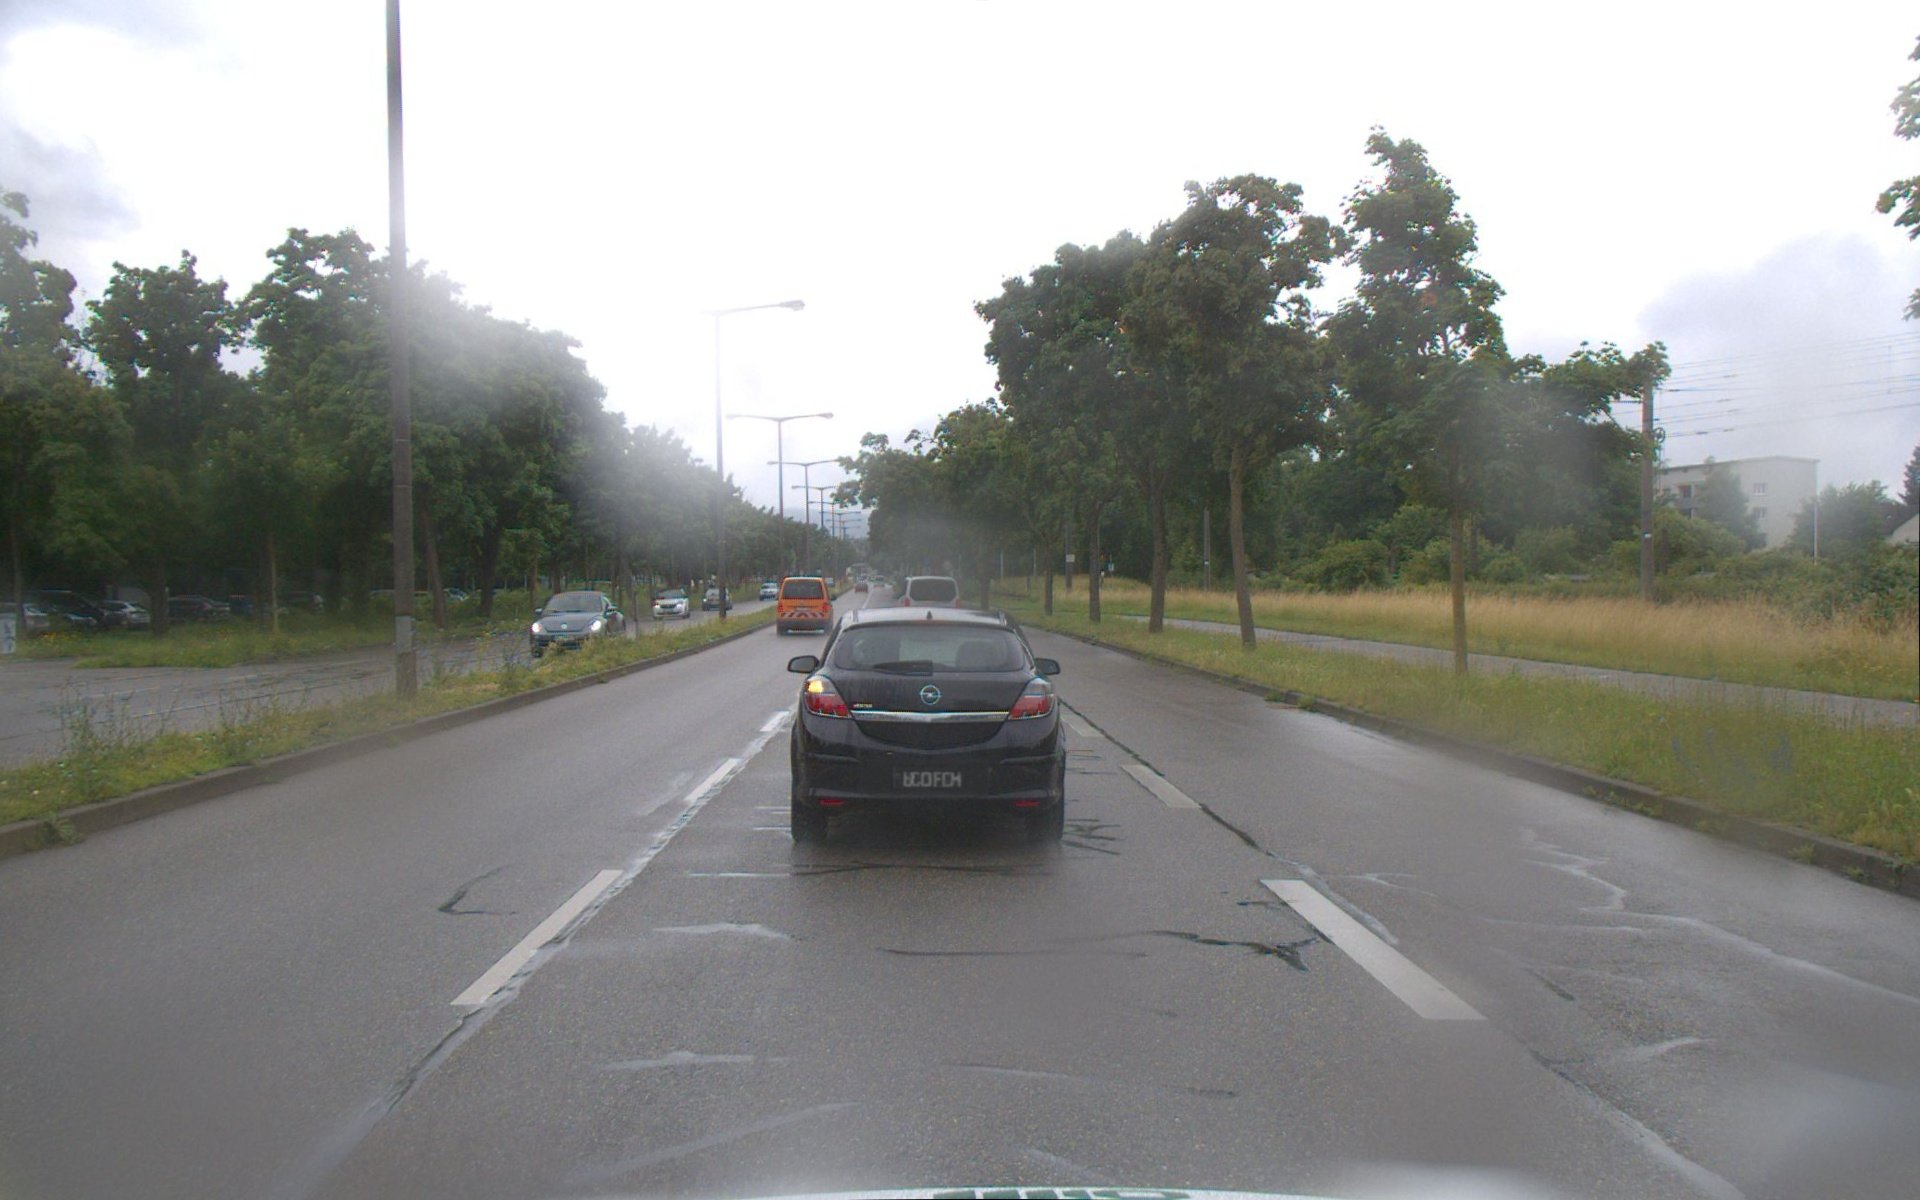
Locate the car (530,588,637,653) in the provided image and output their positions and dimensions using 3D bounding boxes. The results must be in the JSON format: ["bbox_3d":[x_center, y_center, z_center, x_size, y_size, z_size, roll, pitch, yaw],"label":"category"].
[{"bbox_3d":[-9.084,0.471,40.186,1.790,1.475,3.808,-1,0,-1],"label":"car"}]

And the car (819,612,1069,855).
[{"bbox_3d":[-0.056,0.782,11.418,1.433,1.352,3.758,0,0,1],"label":"car"}]

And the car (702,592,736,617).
[{"bbox_3d":[-15.886,0.287,109.132,1.685,1.556,3.808,-1,0,-1],"label":"car"}]

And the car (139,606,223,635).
[{"bbox_3d":[-41.305,1.073,87.776,3.770,1.477,1.519,-1,0,-14],"label":"car"}]

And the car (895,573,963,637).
[{"bbox_3d":[-1.069,0.178,54.597,2.018,2.009,4.605,0,0,-3],"label":"car"}]

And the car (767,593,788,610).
[{"bbox_3d":[-17.235,0.140,156.355,1.685,1.556,3.808,-1,0,-1],"label":"car"}]

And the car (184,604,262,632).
[{"bbox_3d":[-41.375,1.017,92.925,3.774,1.477,1.518,-1,0,-17],"label":"car"}]

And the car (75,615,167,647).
[{"bbox_3d":[-41.797,1.522,82.463,3.762,1.477,1.523,-1,0,-7],"label":"car"}]

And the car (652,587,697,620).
[{"bbox_3d":[-14.498,0.162,84.200,1.685,1.556,3.808,-1,1,-1],"label":"car"}]

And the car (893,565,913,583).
[{"bbox_3d":[-7.193,-3.252,208.158,2.465,2.088,5.291,2,1,-2],"label":"car"}]

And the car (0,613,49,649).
[{"bbox_3d":[-40.924,1.336,70.088,3.762,1.477,1.523,-1,0,-7],"label":"car"}]

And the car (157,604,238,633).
[{"bbox_3d":[-41.520,1.006,90.139,3.774,1.477,1.518,-1,0,-17],"label":"car"}]

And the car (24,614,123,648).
[{"bbox_3d":[-41.490,1.455,77.476,3.762,1.477,1.523,-1,0,-7],"label":"car"}]

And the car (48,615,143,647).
[{"bbox_3d":[-41.809,1.487,80.052,3.762,1.477,1.523,-1,0,-7],"label":"car"}]

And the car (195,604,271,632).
[{"bbox_3d":[-41.624,1.019,94.726,3.774,1.477,1.518,-1,0,-17],"label":"car"}]

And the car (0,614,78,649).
[{"bbox_3d":[-41.064,1.382,72.691,3.762,1.477,1.523,-1,0,-7],"label":"car"}]
